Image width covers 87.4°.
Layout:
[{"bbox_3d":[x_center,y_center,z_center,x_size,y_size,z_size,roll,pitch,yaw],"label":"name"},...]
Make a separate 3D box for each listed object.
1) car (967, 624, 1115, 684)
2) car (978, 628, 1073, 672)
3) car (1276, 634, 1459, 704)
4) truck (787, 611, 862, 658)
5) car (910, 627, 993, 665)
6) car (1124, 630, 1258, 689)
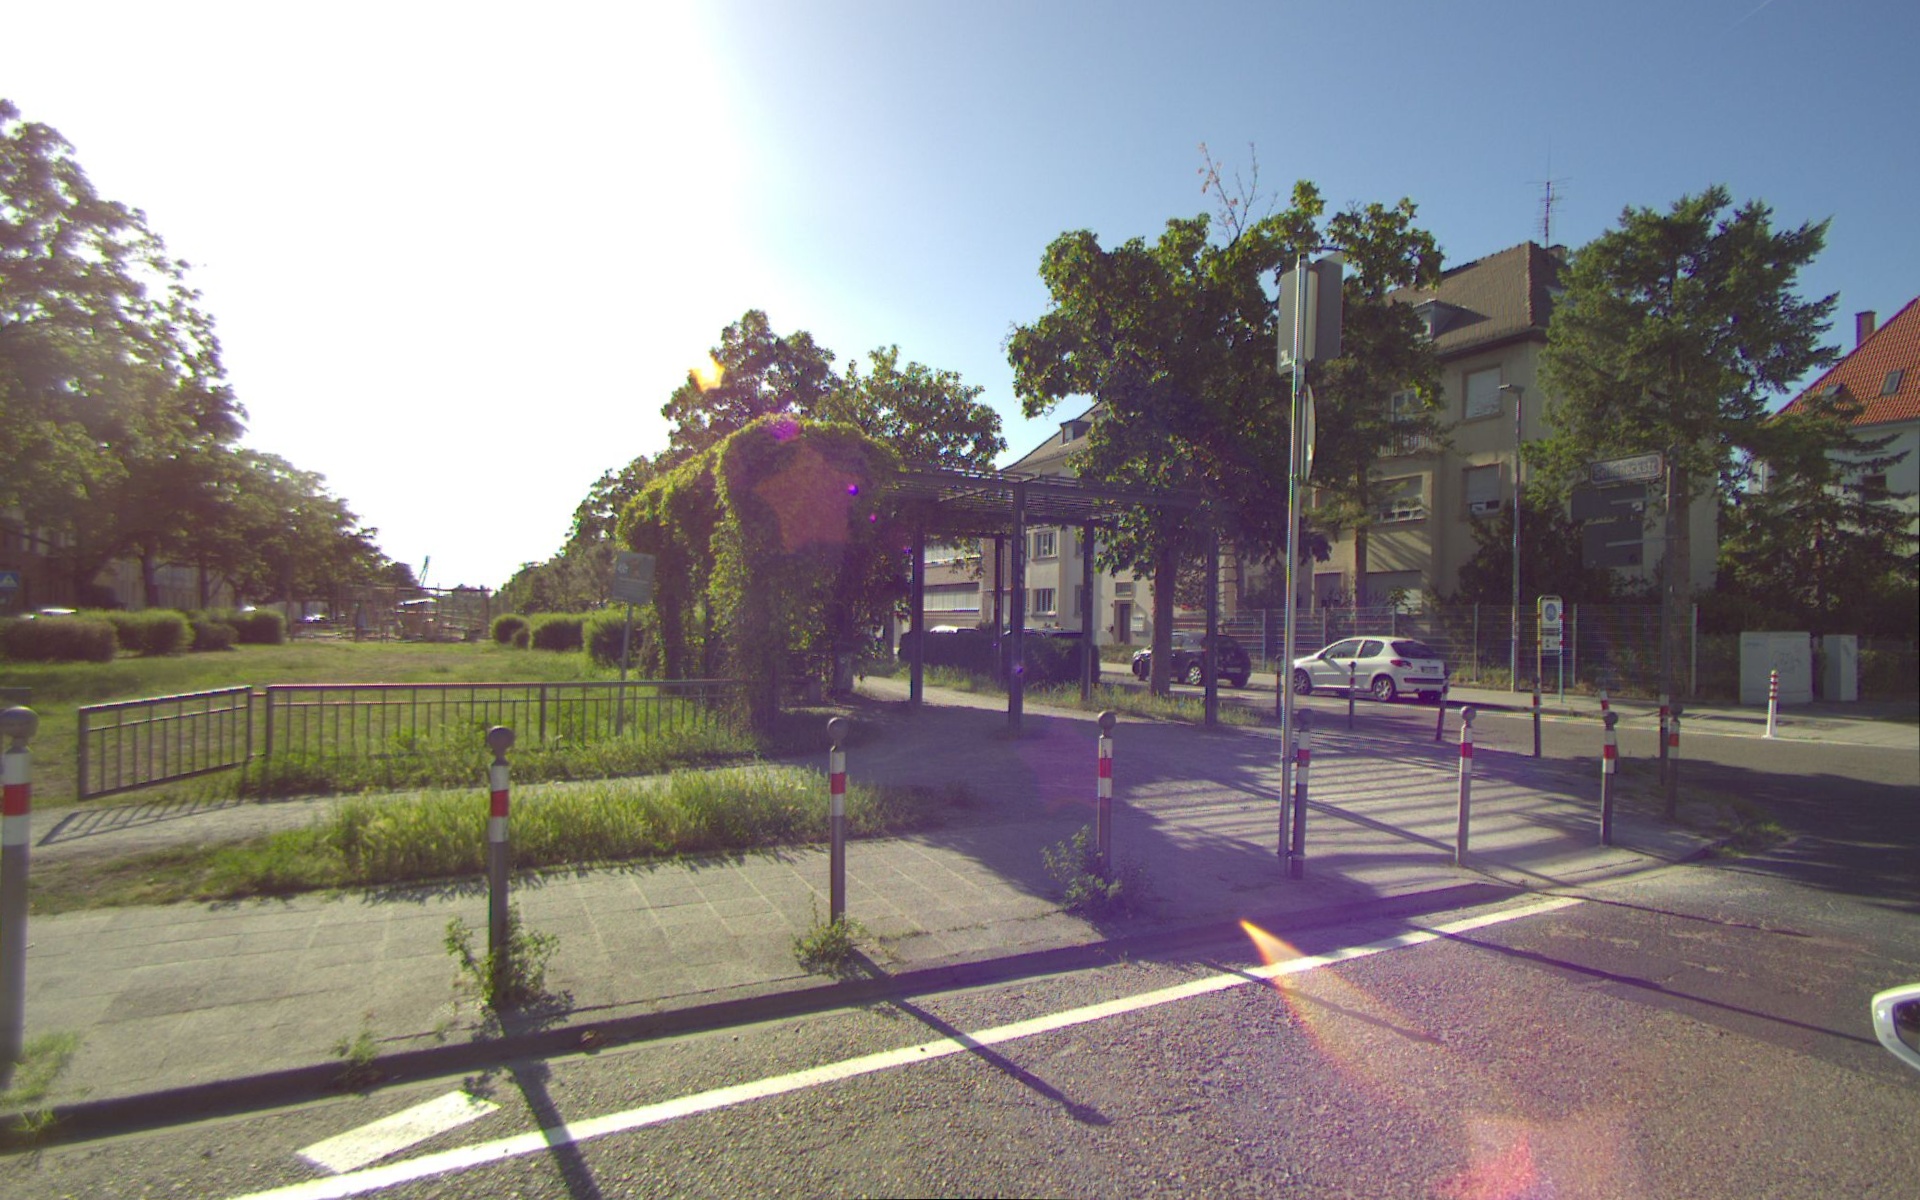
[{"bbox_3d":[2.219,1.486,28.833,1.976,1.545,4.720,1,-2,-29],"label":"car"},{"bbox_3d":[2.398,1.834,37.633,1.778,1.514,3.973,3,-2,-26],"label":"car"},{"bbox_3d":[9.284,1.547,23.173,1.685,1.416,3.751,3,-2,-27],"label":"car"},{"bbox_3d":[-6.356,1.593,46.576,1.974,2.063,4.841,1,-2,-27],"label":"truck"},{"bbox_3d":[-0.415,1.937,43.087,1.781,1.514,3.967,3,-2,-31],"label":"car"},{"bbox_3d":[6.454,1.631,28.401,1.655,1.514,3.801,3,-2,-26],"label":"car"}]
